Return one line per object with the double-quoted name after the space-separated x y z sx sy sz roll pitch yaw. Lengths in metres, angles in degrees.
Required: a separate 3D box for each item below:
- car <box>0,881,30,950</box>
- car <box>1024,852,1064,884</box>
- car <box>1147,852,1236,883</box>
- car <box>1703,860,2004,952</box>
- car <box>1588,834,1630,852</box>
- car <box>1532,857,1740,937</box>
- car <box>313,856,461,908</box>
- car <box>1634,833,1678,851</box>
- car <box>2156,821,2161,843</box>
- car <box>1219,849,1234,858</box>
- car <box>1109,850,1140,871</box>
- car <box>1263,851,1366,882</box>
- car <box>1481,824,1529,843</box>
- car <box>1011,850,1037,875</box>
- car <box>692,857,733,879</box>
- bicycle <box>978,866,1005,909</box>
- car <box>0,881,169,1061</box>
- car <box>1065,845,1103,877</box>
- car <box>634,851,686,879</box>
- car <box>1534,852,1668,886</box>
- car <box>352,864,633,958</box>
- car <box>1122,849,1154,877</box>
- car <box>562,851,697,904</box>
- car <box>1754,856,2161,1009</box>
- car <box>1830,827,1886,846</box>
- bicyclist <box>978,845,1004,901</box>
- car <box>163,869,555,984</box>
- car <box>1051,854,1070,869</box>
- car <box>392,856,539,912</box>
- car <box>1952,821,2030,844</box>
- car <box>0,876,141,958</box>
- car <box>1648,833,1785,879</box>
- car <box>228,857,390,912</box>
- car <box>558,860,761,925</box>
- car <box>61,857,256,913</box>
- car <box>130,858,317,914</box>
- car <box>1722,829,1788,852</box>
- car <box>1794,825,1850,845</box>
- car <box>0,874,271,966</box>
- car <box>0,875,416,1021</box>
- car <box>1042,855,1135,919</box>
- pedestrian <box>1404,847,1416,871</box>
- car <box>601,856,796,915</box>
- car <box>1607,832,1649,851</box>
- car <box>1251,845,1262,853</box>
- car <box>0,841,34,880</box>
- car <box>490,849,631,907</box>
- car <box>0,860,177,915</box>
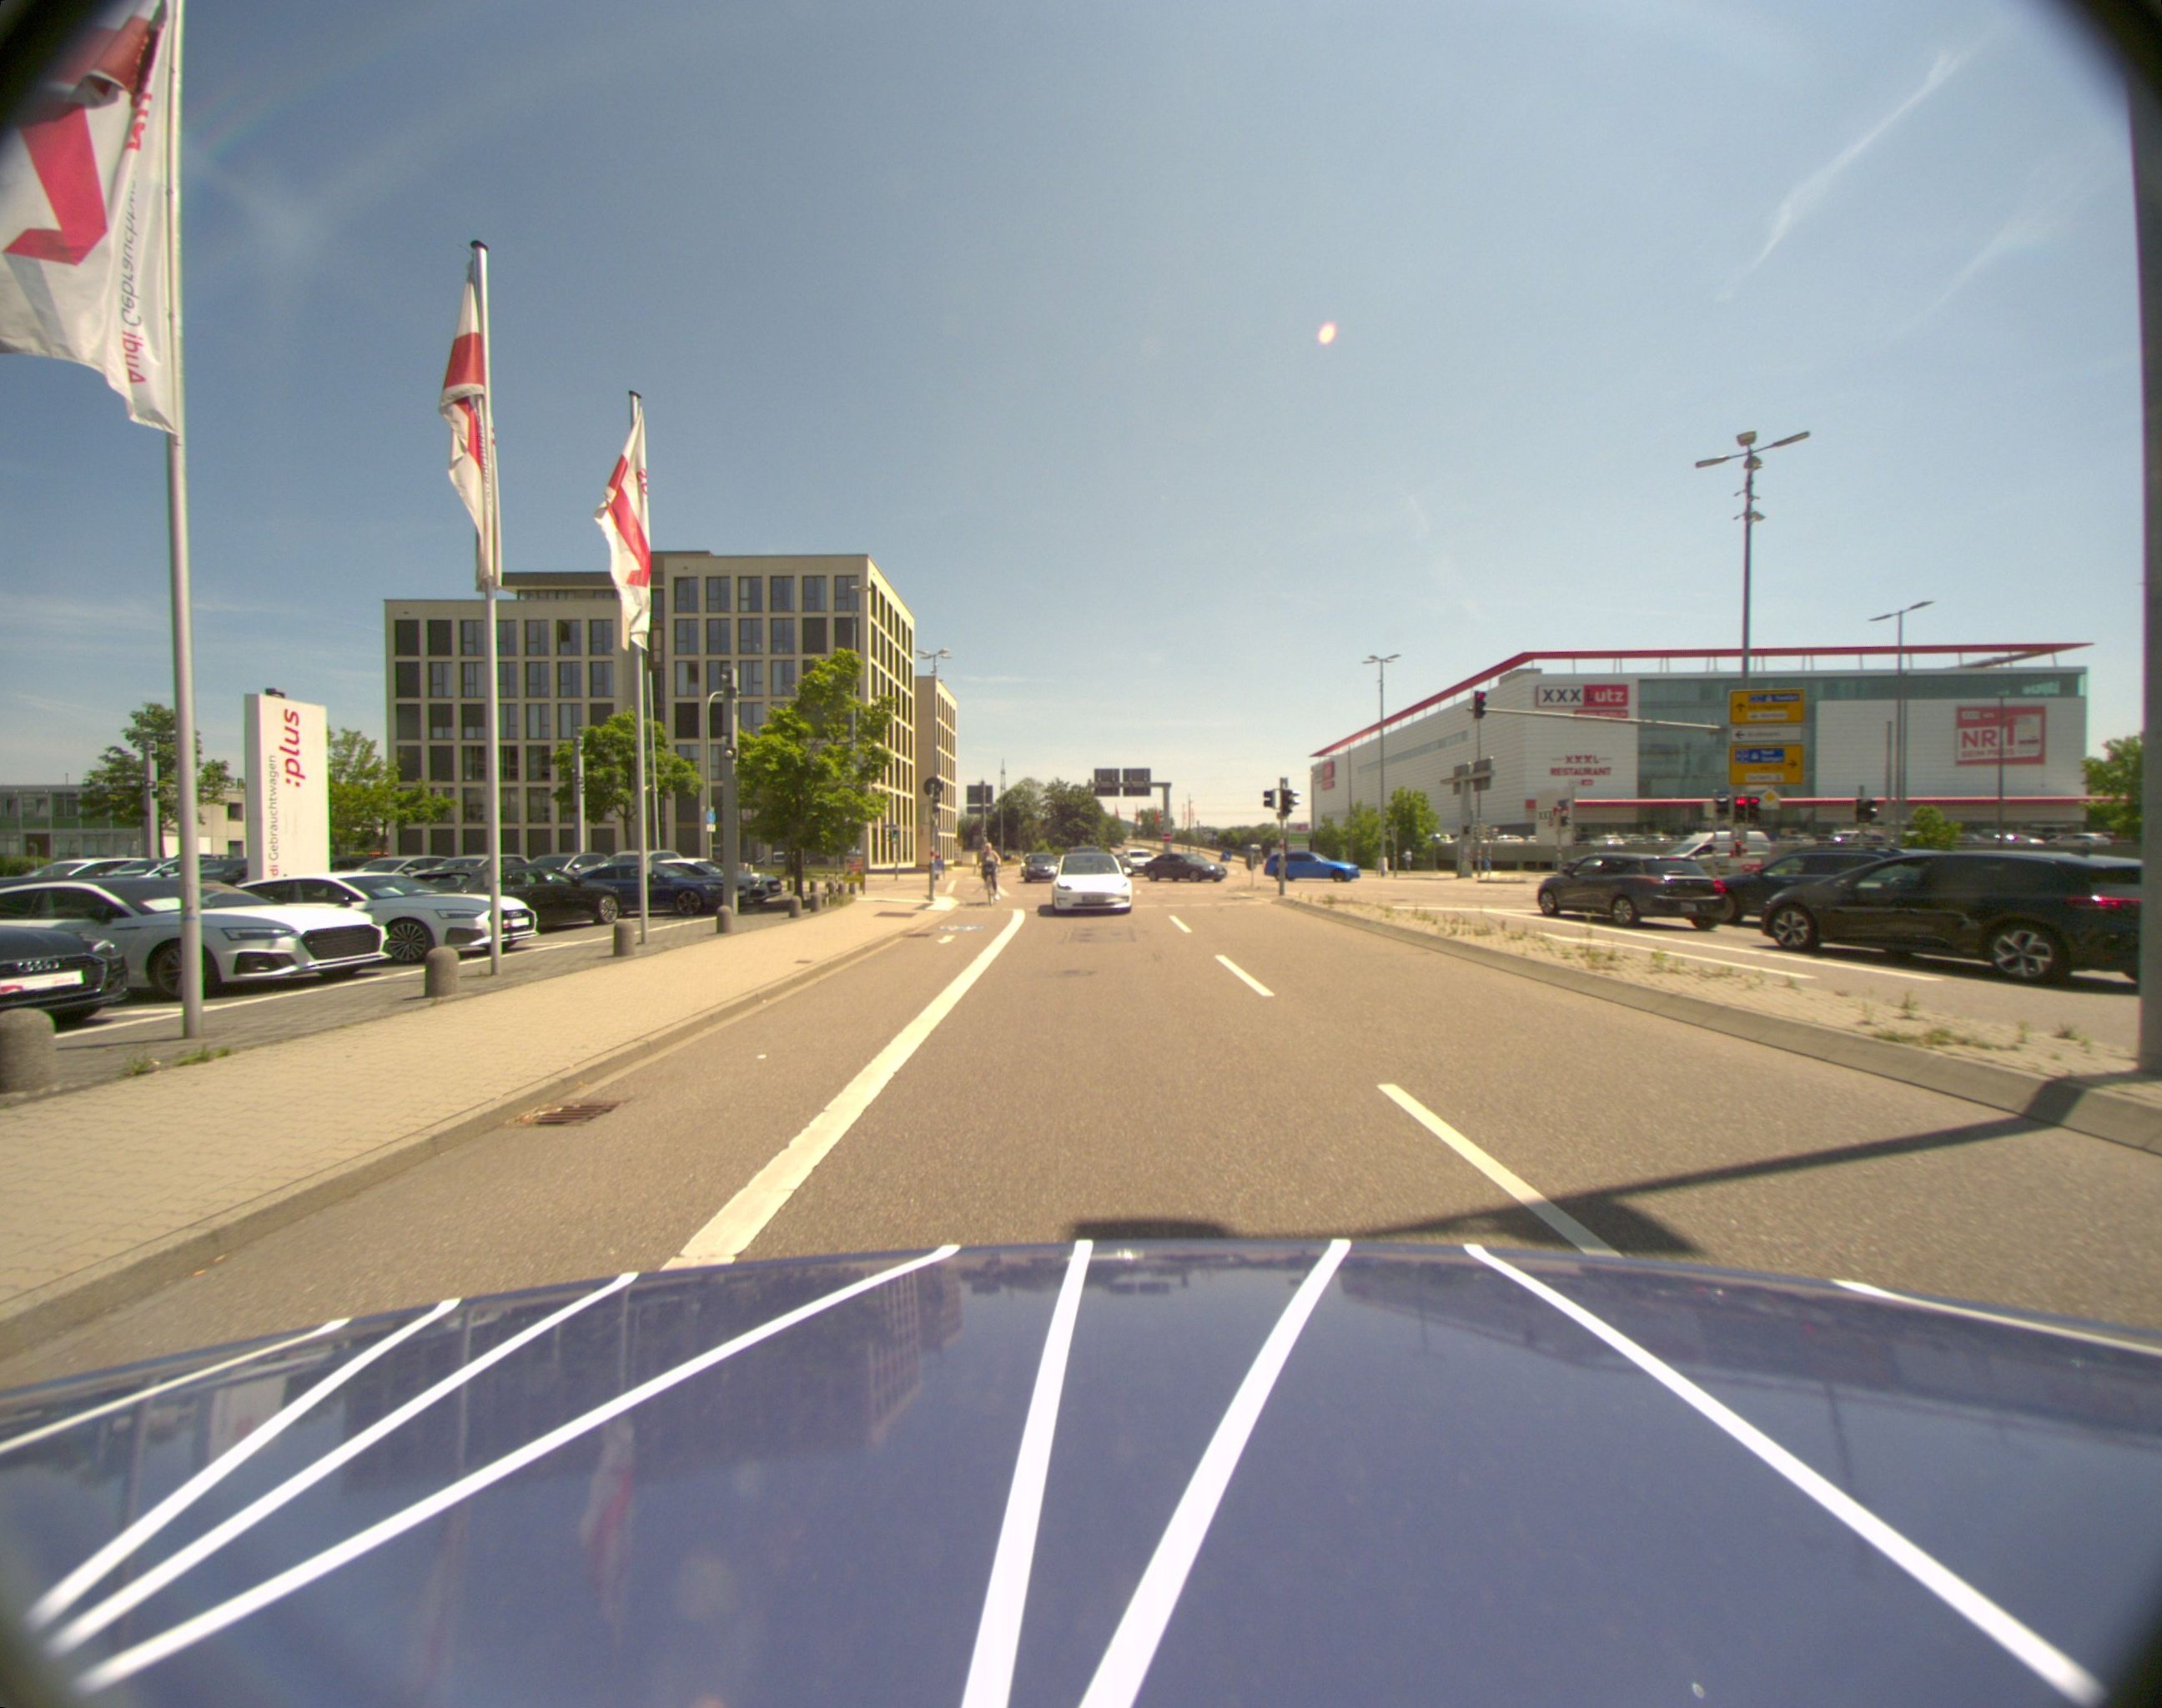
-26.727 1.537 16.385 1.879 1.617 4.344 -3 1 3 "car"
-1.810 0.653 38.479 1.556 1.528 3.822 0 0 4 "car"
5.171 0.577 35.901 1.774 1.374 4.078 -1 1 -37 "car"
14.488 0.879 14.647 1.665 1.416 4.037 0 1 0 "car"
58.967 -1.224 84.964 1.782 2.002 4.233 0 1 1 "car"
11.386 0.808 15.942 1.648 1.381 3.715 1 1 1 "car"
-23.259 0.904 25.682 1.641 1.606 3.817 -1 -1 -4 "car"
63.870 -1.317 84.491 1.782 2.002 4.135 0 1 1 "car"
100.251 -2.027 68.174 1.998 2.002 4.000 0 1 1 "car"
25.992 -0.089 136.034 1.998 1.587 3.999 -1 1 1 "car"
3.290 0.464 56.615 1.768 1.414 3.902 -2 0 10 "car"
11.279 0.606 36.834 4.418 1.394 1.774 -1 -1 33 "car"
47.648 -2.305 85.434 4.470 2.002 1.679 0 1 3 "car"
-4.150 0.614 54.761 1.800 1.728 3.818 0 0 -6 "car"
-26.112 0.941 53.733 1.703 1.424 3.988 -2 2 -39 "car"
-2.579 0.933 22.039 0.629 1.126 1.894 -2 1 -2 "bicycle"
-10.731 1.059 6.207 4.236 1.382 1.869 -3 1 0 "car"
0.251 0.410 46.920 1.895 1.811 4.838 -1 0 5 "car"
-29.635 0.762 53.420 1.924 1.875 4.919 -1 0 -44 "car"
22.265 0.622 32.668 4.460 1.396 1.678 0 0 9 "car"
-11.497 1.015 15.387 1.867 1.411 4.662 -3 1 2 "car"
3.449 0.523 46.603 1.769 1.631 4.492 -2 0 2 "car"
-15.308 0.725 26.111 1.873 1.549 4.502 0 2 1 "car"
11.613 0.843 10.001 1.731 1.496 4.243 1 1 1 "car"
83.830 -1.845 82.017 1.998 1.890 4.000 0 0 1 "car"
-2.599 0.538 22.065 0.629 1.596 0.825 -2 1 -2 "bicyclist"
-10.770 1.036 11.584 4.106 1.356 1.874 -3 1 0 "car"
-2.079 0.774 78.113 1.769 1.395 3.951 -1 1 2 "car"
-20.664 0.936 25.755 1.849 1.645 3.996 -3 1 -4 "car"
83.346 -1.922 69.711 1.998 2.002 4.329 0 1 1 "car"
-23.581 1.405 16.053 1.879 1.617 4.308 -3 1 3 "car"
31.605 0.104 37.923 5.043 2.170 2.001 0 0 5 "car"
-26.076 0.979 25.885 1.633 1.645 3.909 -1 0 -4 "car"
-10.742 0.948 19.568 4.106 1.382 1.869 -3 1 0 "car"
-31.418 0.990 26.094 1.849 1.645 3.996 -3 1 -4 "car"
-28.948 1.007 25.874 1.849 1.645 3.996 -3 1 -4 "car"
61.297 -1.178 69.224 1.999 2.002 4.327 0 1 -4 "car"
78.854 -2.027 80.931 1.998 2.002 4.000 0 1 1 "car"
-20.583 1.307 15.949 1.879 1.507 4.716 -3 1 3 "car"
-10.769 1.055 8.977 4.109 1.341 1.869 -3 1 0 "car"
0.086 0.790 20.305 1.824 1.428 4.281 -2 0 -8 "car"
25.349 0.384 58.563 0.604 1.773 0.827 0 1 5 "pedestrian"
-10.964 0.871 22.019 4.604 1.382 1.869 -3 1 0 "car"
61.159 -1.378 84.982 1.782 2.002 4.135 0 1 1 "car"
47.145 -1.349 204.216 2.192 2.270 4.814 0 0 3 "car"
-48.359 0.286 32.540 4.584 1.684 1.914 0 0 3 "car"
-17.733 0.750 26.141 1.848 1.645 3.998 -3 2 3 "car"
-34.258 1.084 26.034 1.849 1.645 3.996 -3 1 -4 "car"
